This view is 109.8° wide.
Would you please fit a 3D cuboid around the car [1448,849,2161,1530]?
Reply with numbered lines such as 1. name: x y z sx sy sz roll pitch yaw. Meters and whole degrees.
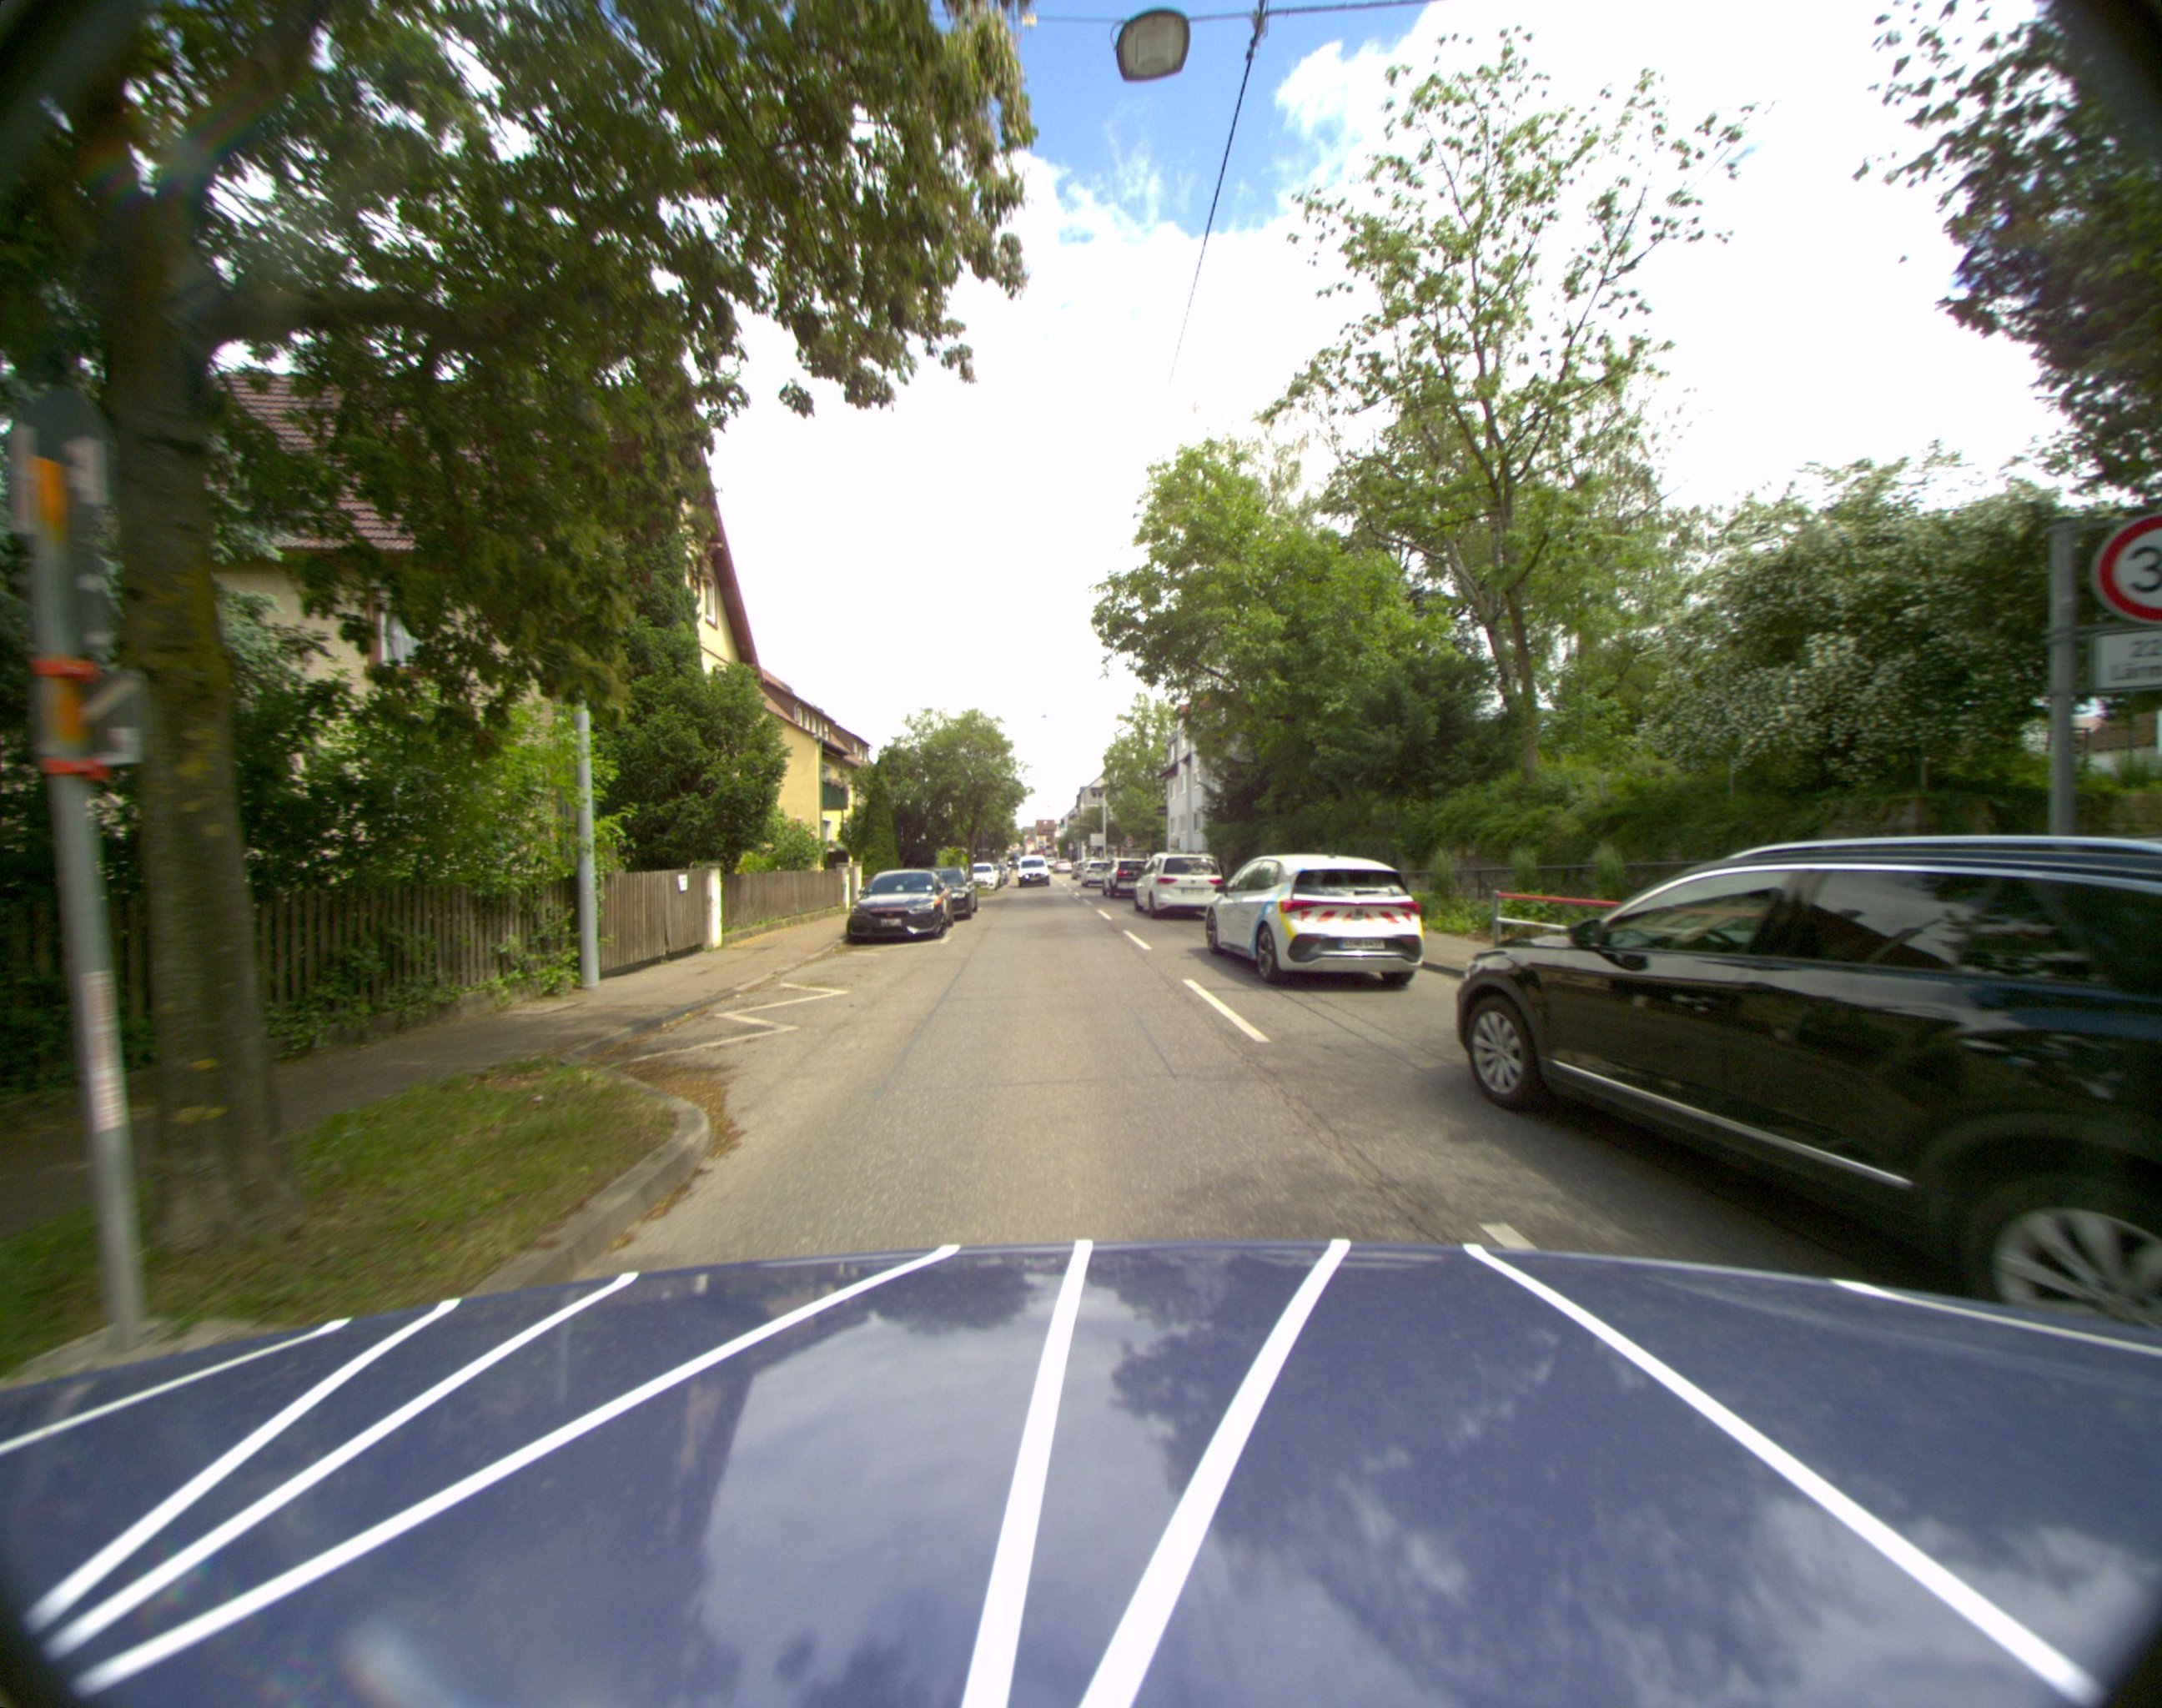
1. car: 3.352 0.788 2.924 1.762 1.581 3.968 -1 1 -4

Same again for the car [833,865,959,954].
1. car: -3.832 1.084 16.462 1.939 1.483 4.021 -3 1 -4

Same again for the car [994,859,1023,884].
1. car: -4.895 1.151 51.693 1.767 1.483 3.577 -3 1 -4

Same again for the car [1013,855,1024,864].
1. car: -9.556 0.872 116.953 1.535 1.308 3.577 -3 1 -4

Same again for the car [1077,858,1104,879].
1. car: 0.639 1.043 54.609 1.542 1.368 4.160 1 1 -4

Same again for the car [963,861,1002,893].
1. car: -5.224 1.183 40.572 1.767 1.483 3.577 -3 1 -4

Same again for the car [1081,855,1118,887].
1. car: 0.960 0.893 41.810 1.619 1.581 4.160 1 1 -4

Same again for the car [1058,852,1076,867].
1. car: -1.532 0.584 82.853 1.767 1.495 3.514 -3 1 -4

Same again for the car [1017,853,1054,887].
1. car: -2.694 0.899 45.190 1.966 1.796 4.427 -3 1 -3

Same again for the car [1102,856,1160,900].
1. car: 1.919 0.940 30.319 1.762 1.581 4.162 1 -1 -4

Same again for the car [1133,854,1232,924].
1. car: 2.559 0.837 20.116 1.762 1.581 4.160 1 1 -4

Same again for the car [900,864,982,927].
1. car: -3.831 1.080 21.329 1.767 1.483 3.859 -3 0 -4

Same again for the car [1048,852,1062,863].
1. car: -3.771 0.456 108.641 1.767 1.495 3.858 -3 1 -4

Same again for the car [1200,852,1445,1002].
1. car: 2.923 0.792 10.193 1.762 1.581 4.002 1 1 -4
